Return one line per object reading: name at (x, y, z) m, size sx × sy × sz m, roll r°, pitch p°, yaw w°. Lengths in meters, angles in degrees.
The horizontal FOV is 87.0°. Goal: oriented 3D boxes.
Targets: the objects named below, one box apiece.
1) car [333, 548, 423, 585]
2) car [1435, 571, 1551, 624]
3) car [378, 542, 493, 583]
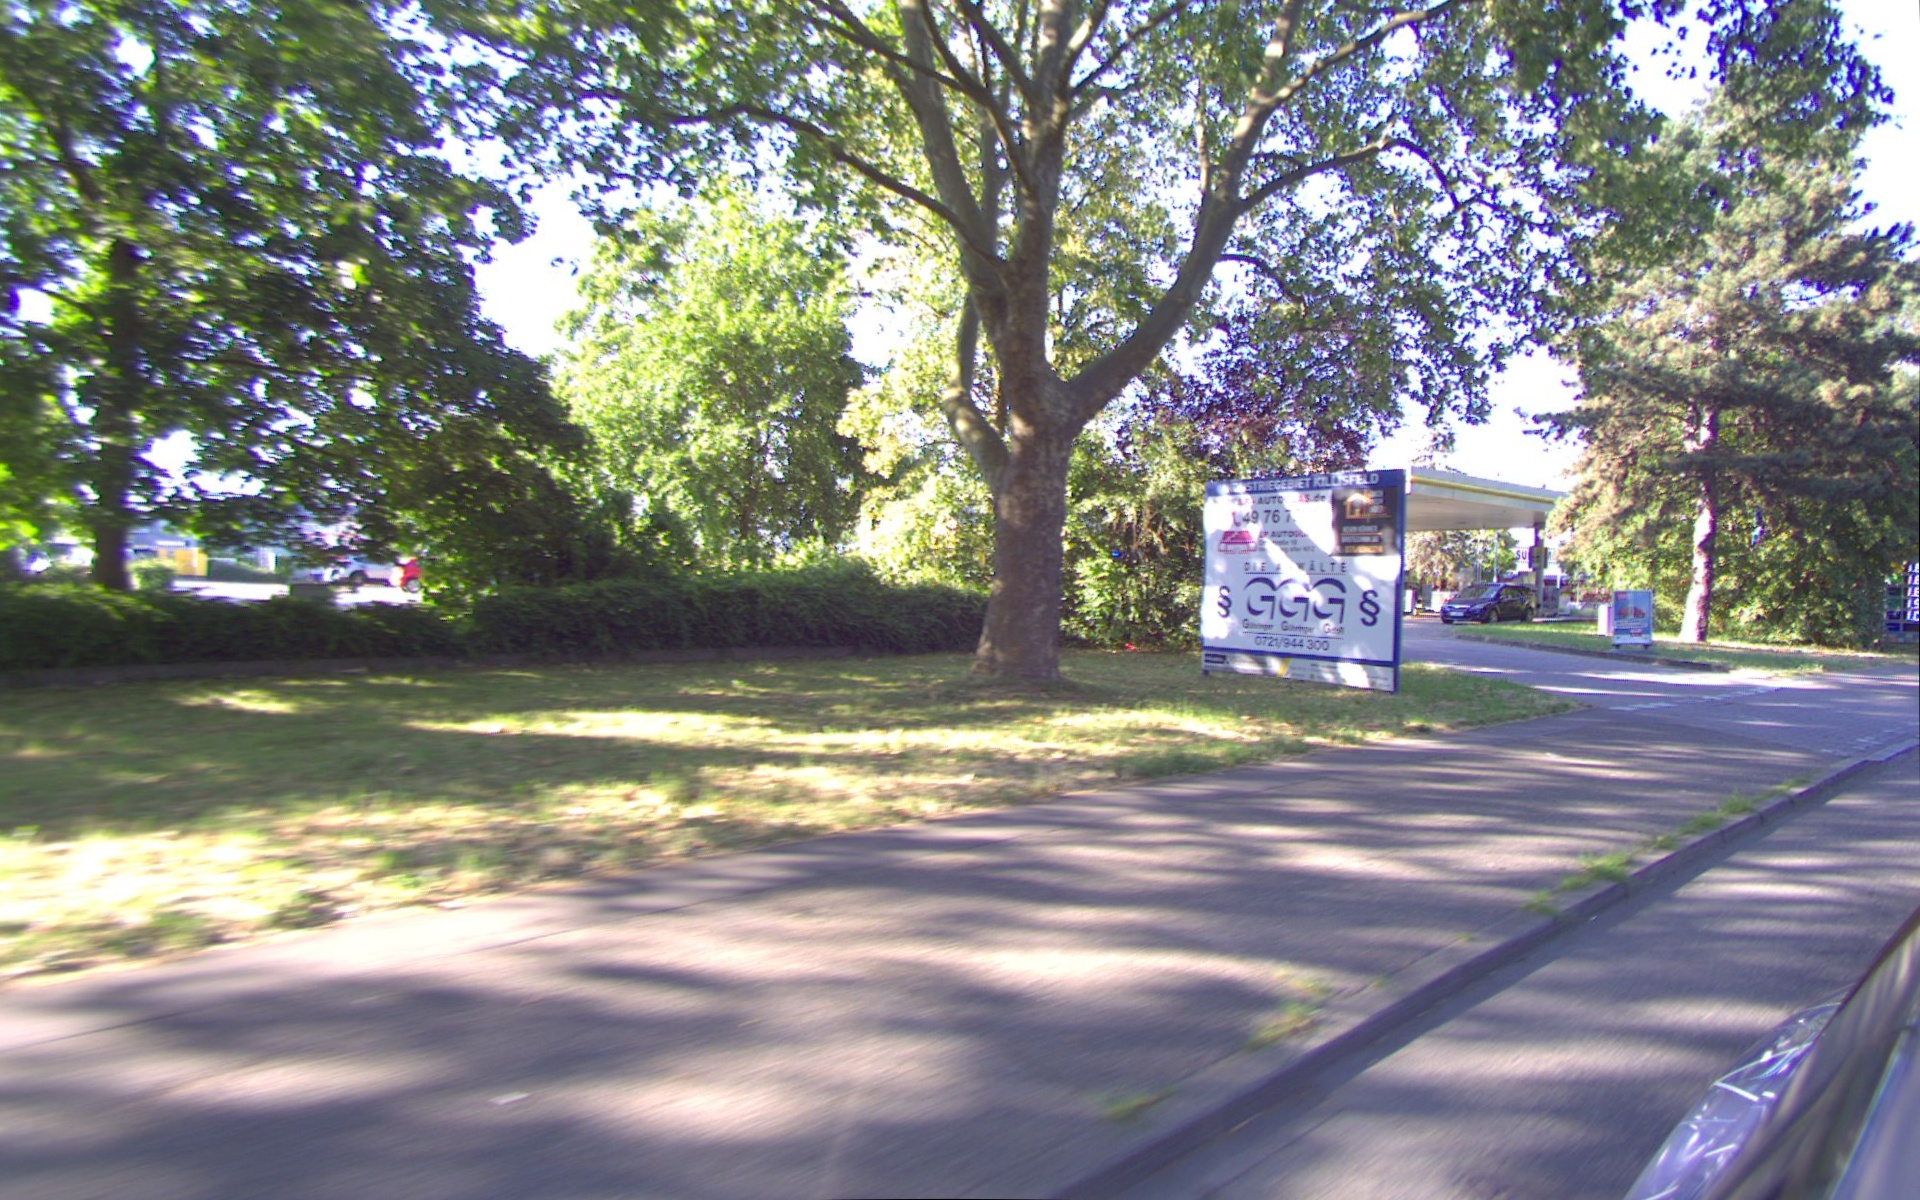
car at (-30.690, -1.783, 53.399) m, size 3.923 × 1.637 × 2.001 m, roll 3°, pitch 2°, yaw -35°
car at (19.306, -0.084, 36.609) m, size 4.390 × 1.667 × 1.931 m, roll 2°, pitch 2°, yaw -36°
car at (-21.622, -1.558, 41.727) m, size 3.923 × 1.370 × 2.001 m, roll 3°, pitch 2°, yaw -35°
